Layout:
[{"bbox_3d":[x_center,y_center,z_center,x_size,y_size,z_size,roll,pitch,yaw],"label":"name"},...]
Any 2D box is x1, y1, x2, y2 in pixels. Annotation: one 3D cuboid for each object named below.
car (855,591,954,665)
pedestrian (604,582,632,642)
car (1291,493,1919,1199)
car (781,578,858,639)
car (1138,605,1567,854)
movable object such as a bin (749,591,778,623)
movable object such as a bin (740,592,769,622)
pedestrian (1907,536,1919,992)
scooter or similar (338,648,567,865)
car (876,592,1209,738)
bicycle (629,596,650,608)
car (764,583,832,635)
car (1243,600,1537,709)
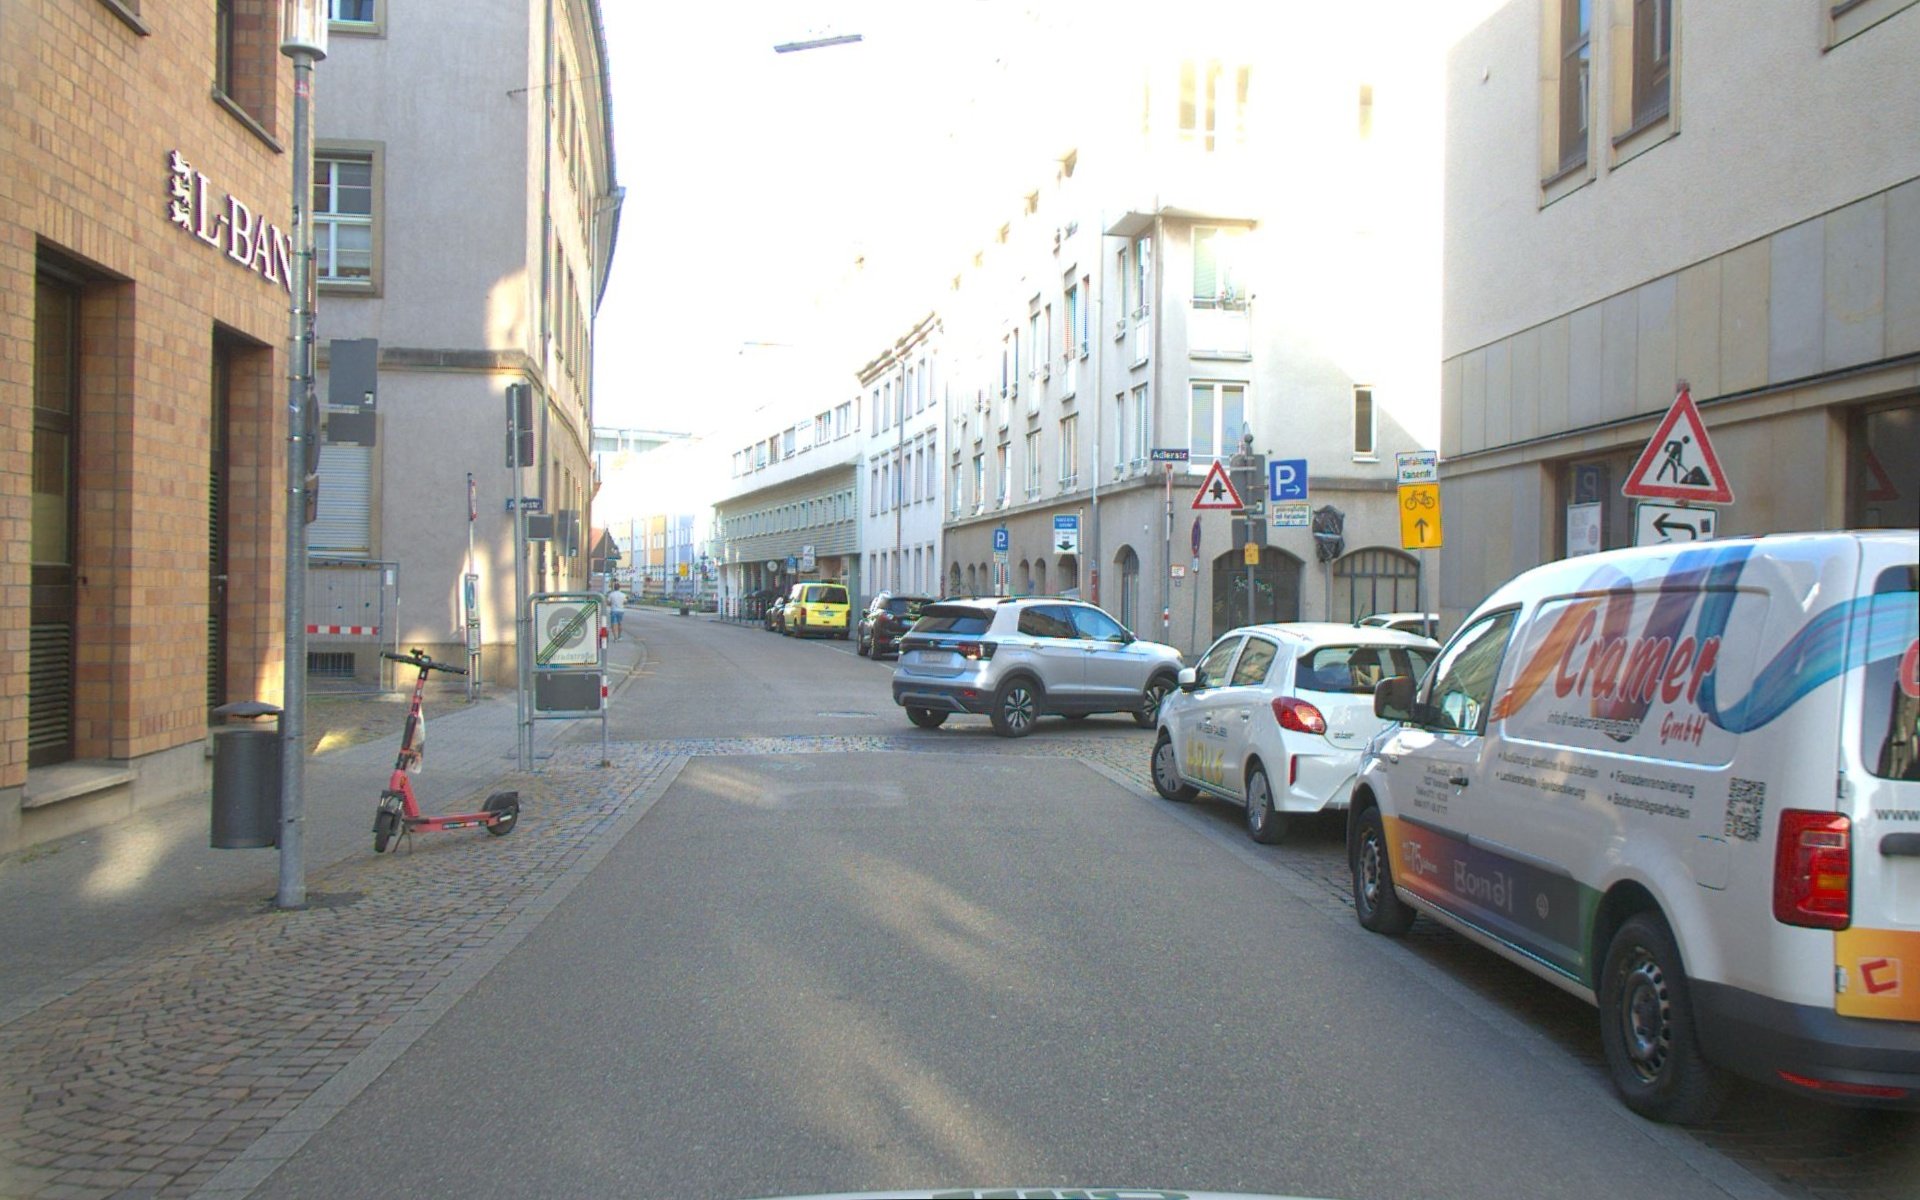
[{"bbox_3d":[-1.486,0.670,42.343,1.932,1.721,4.091,2,0,-10],"label":"car"},{"bbox_3d":[-10.188,0.352,49.234,0.753,1.754,0.684,1,0,-16],"label":"pedestrian"},{"bbox_3d":[2.881,0.678,6.652,1.794,1.822,5.211,2,0,-3],"label":"car"},{"bbox_3d":[-5.019,0.284,58.635,2.018,2.049,4.159,1,0,-15],"label":"car"},{"bbox_3d":[2.748,0.847,12.603,1.852,1.545,4.056,1,0,-7],"label":"car"},{"bbox_3d":[-9.826,0.349,82.628,1.114,1.585,1.730,1,0,-18],"label":"movable object such as a bin"},{"bbox_3d":[-10.477,0.360,84.297,1.114,1.505,1.730,1,0,-18],"label":"movable object such as a bin"},{"bbox_3d":[4.402,0.663,6.175,1.021,1.833,1.198,1,-1,-3],"label":"pedestrian"},{"bbox_3d":[-3.224,0.955,10.616,0.684,1.239,1.356,0,0,25],"label":"scooter or similar"},{"bbox_3d":[1.073,0.704,20.152,3.966,1.589,1.814,0,0,-42],"label":"car"},{"bbox_3d":[-28.341,0.154,146.132,1.751,1.018,0.544,1,0,-16],"label":"bicycle"},{"bbox_3d":[-6.350,0.323,64.354,2.018,1.905,4.084,1,0,-15],"label":"car"},{"bbox_3d":[6.787,0.839,26.370,4.133,1.580,1.900,1,0,-5],"label":"car"}]
